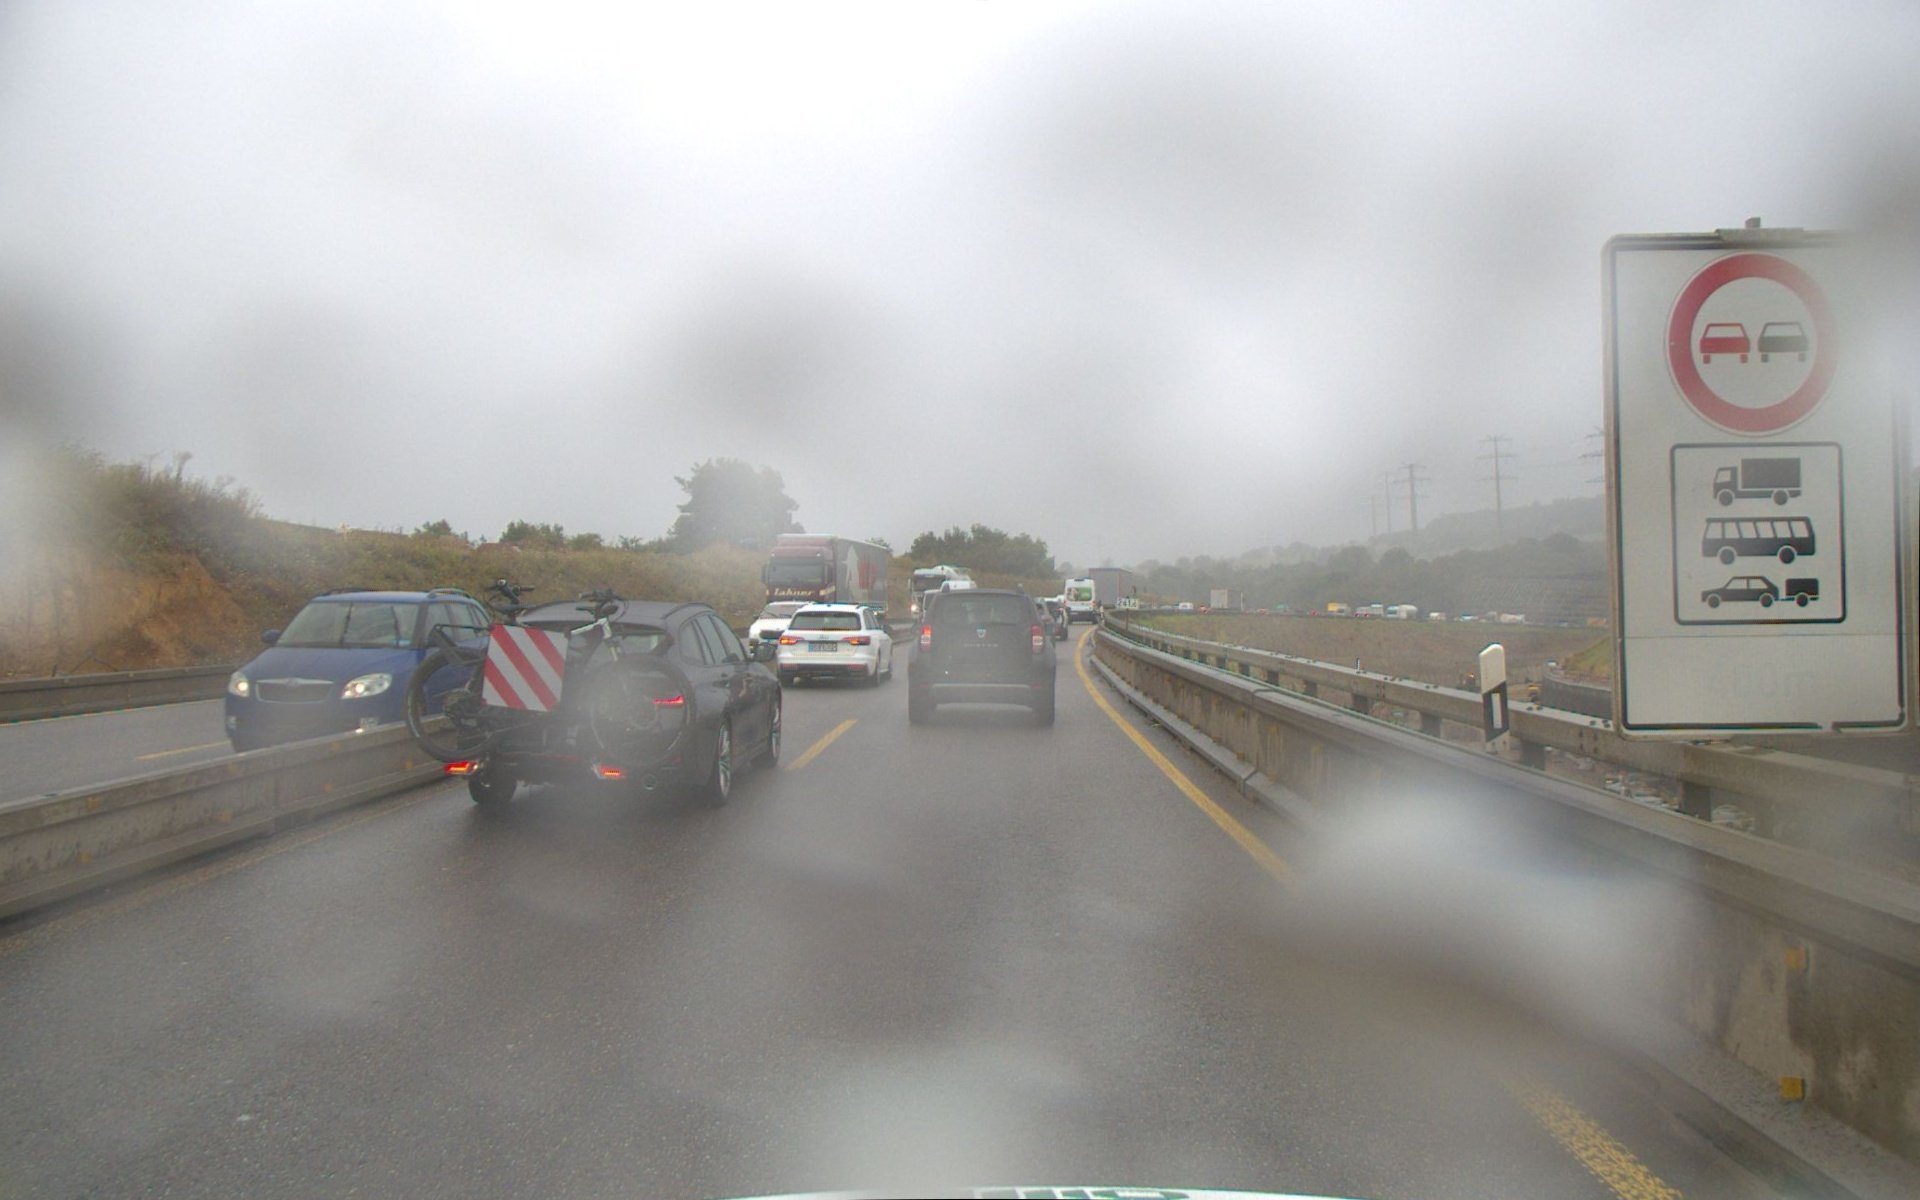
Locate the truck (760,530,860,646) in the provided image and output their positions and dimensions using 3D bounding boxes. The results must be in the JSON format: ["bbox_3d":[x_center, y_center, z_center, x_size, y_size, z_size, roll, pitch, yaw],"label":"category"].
[{"bbox_3d":[-6.160,-0.488,69.026,2.917,4.486,6.935,-2,0,4],"label":"truck"}]

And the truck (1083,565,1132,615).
[{"bbox_3d":[11.784,-0.733,131.502,3.132,3.827,8.516,1,0,9],"label":"truck"}]

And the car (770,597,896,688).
[{"bbox_3d":[-2.205,0.721,29.810,1.829,1.486,4.549,1,0,1],"label":"car"}]

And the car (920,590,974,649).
[{"bbox_3d":[-0.403,0.634,56.019,1.625,1.913,4.021,1,0,2],"label":"car"}]

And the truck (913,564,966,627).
[{"bbox_3d":[-1.312,-0.281,109.631,3.164,4.025,5.883,0,-1,3],"label":"truck"}]

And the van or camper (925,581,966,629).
[{"bbox_3d":[-0.784,0.279,94.815,2.232,2.660,5.828,1,0,0],"label":"van or camper"}]

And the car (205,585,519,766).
[{"bbox_3d":[-5.655,0.652,16.143,1.615,1.529,3.829,1,0,1],"label":"car"}]

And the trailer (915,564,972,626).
[{"bbox_3d":[-1.036,-0.307,114.490,3.187,4.033,11.541,0,0,3],"label":"trailer"}]

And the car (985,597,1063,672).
[{"bbox_3d":[1.550,0.825,40.864,1.829,1.738,4.001,1,0,1],"label":"car"}]

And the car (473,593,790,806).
[{"bbox_3d":[-2.518,0.724,13.590,1.791,1.502,3.776,0,-1,1],"label":"car"}]

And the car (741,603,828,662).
[{"bbox_3d":[-4.776,0.864,45.633,1.707,1.529,4.636,1,0,2],"label":"car"}]

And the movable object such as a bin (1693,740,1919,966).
[{"bbox_3d":[27.773,7.638,52.299,4.790,5.770,12.095,2,-3,5],"label":"movable object such as a bin"}]

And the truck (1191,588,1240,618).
[{"bbox_3d":[37.789,0.533,243.958,4.618,4.222,15.689,1,0,18],"label":"truck"}]

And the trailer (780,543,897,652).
[{"bbox_3d":[-5.426,-0.157,77.616,2.932,4.498,15.712,-2,0,5],"label":"trailer"}]

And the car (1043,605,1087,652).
[{"bbox_3d":[3.926,1.039,61.499,1.498,1.669,4.015,1,0,5],"label":"car"}]

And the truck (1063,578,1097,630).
[{"bbox_3d":[7.667,0.253,105.848,2.104,3.221,6.462,1,0,4],"label":"truck"}]

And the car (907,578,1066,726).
[{"bbox_3d":[0.243,0.606,20.759,1.768,1.675,3.774,0,-1,-3],"label":"car"}]
